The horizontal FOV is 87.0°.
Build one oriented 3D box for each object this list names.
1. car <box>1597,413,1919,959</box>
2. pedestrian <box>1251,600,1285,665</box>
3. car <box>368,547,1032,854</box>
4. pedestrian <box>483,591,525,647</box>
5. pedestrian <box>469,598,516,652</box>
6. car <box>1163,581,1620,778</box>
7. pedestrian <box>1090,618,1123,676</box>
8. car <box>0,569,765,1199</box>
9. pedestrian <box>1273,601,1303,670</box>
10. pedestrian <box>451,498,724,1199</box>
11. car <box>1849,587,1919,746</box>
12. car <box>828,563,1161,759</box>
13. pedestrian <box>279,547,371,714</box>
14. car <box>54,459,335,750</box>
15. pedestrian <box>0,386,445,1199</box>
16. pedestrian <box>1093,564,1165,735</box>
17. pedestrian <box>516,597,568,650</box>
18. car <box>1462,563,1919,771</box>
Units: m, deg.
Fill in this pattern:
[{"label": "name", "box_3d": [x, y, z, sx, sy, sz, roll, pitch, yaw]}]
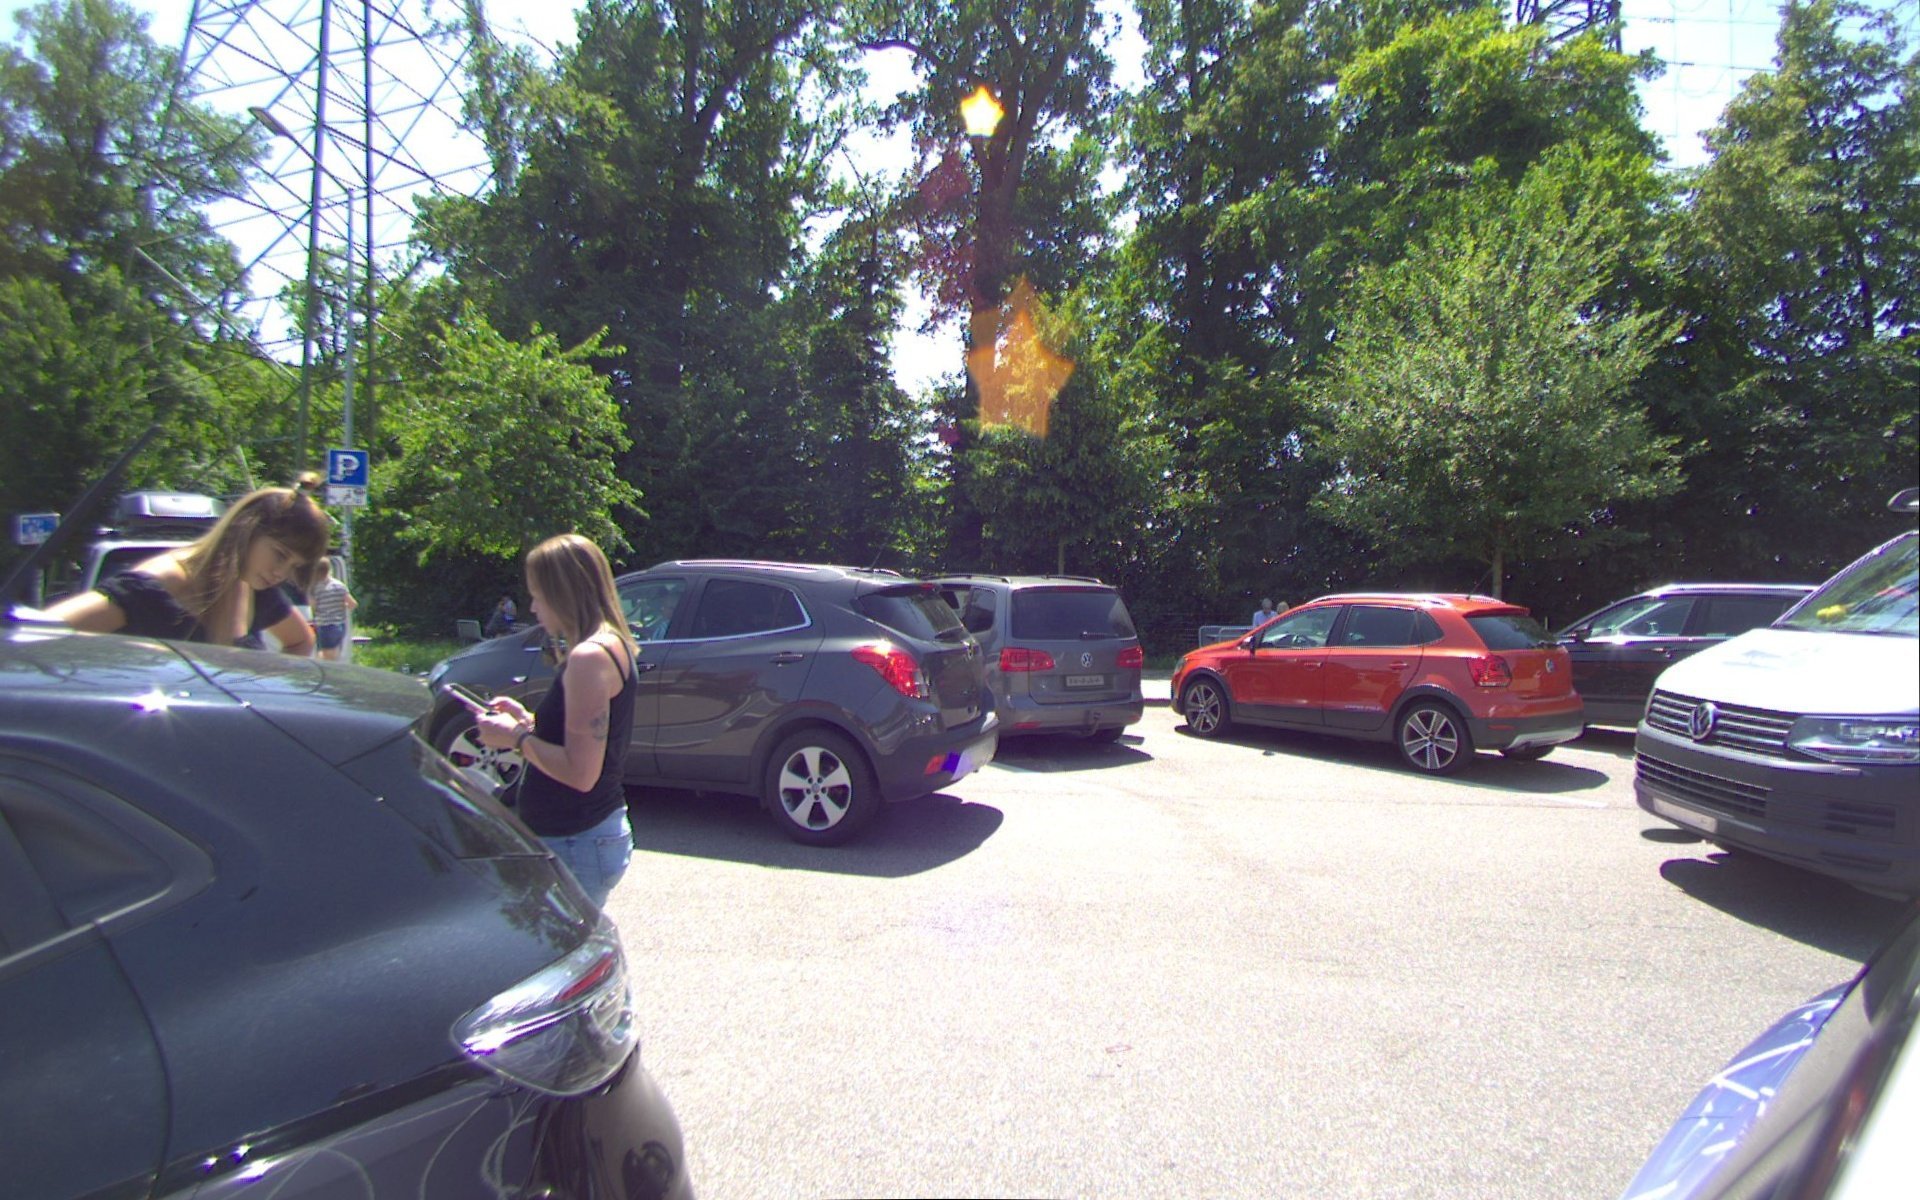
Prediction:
[{"label": "car", "box_3d": [6.275, 0.354, 4.680, 5.336, 2.131, 1.842, 1, 1, 4]}, {"label": "pedestrian", "box_3d": [5.798, 0.607, 19.051, 0.433, 1.207, 0.414, 0, 0, -30]}, {"label": "car", "box_3d": [-1.732, 0.514, 6.960, 4.114, 1.637, 1.827, 1, 0, 20]}, {"label": "pedestrian", "box_3d": [-11.053, 0.444, 24.526, 0.539, 1.318, 0.758, 0, 0, 37]}, {"label": "pedestrian", "box_3d": [-10.465, 0.546, 22.658, 0.785, 1.178, 0.696, 0, 0, 39]}, {"label": "car", "box_3d": [3.874, 0.600, 9.661, 1.588, 1.485, 3.751, 1, 0, -34]}, {"label": "pedestrian", "box_3d": [2.275, 0.720, 15.721, 0.494, 0.890, 0.512, 0, -2, 10]}, {"label": "car", "box_3d": [-2.150, 0.720, 0.700, 1.776, 1.476, 3.628, 0, 0, 44]}, {"label": "pedestrian", "box_3d": [5.782, 0.617, 17.869, 0.348, 1.207, 0.367, 0, 0, -20]}, {"label": "pedestrian", "box_3d": [-0.952, 0.580, 2.586, 0.477, 1.614, 0.502, 1, -1, -44]}, {"label": "car", "box_3d": [10.464, 0.639, 8.840, 1.813, 1.473, 3.776, 1, 0, -36]}, {"label": "car", "box_3d": [0.155, 0.499, 10.609, 1.670, 1.637, 3.912, 0, 0, -30]}, {"label": "pedestrian", "box_3d": [-7.581, 0.340, 12.078, 0.825, 1.903, 0.775, 0, 0, -41]}, {"label": "car", "box_3d": [-8.354, 0.030, 10.833, 1.897, 2.400, 4.963, 1, -1, -43]}, {"label": "pedestrian", "box_3d": [-1.762, 0.504, 2.525, 0.478, 1.883, 0.913, 1, -1, -1]}, {"label": "pedestrian", "box_3d": [1.774, 0.499, 10.652, 0.576, 1.744, 0.483, 0, 0, -20]}, {"label": "pedestrian", "box_3d": [-9.704, 0.529, 23.516, 0.810, 1.201, 0.836, 0, 0, 40]}, {"label": "car", "box_3d": [7.180, 0.529, 9.744, 1.679, 1.637, 3.863, 1, 0, -40]}]
